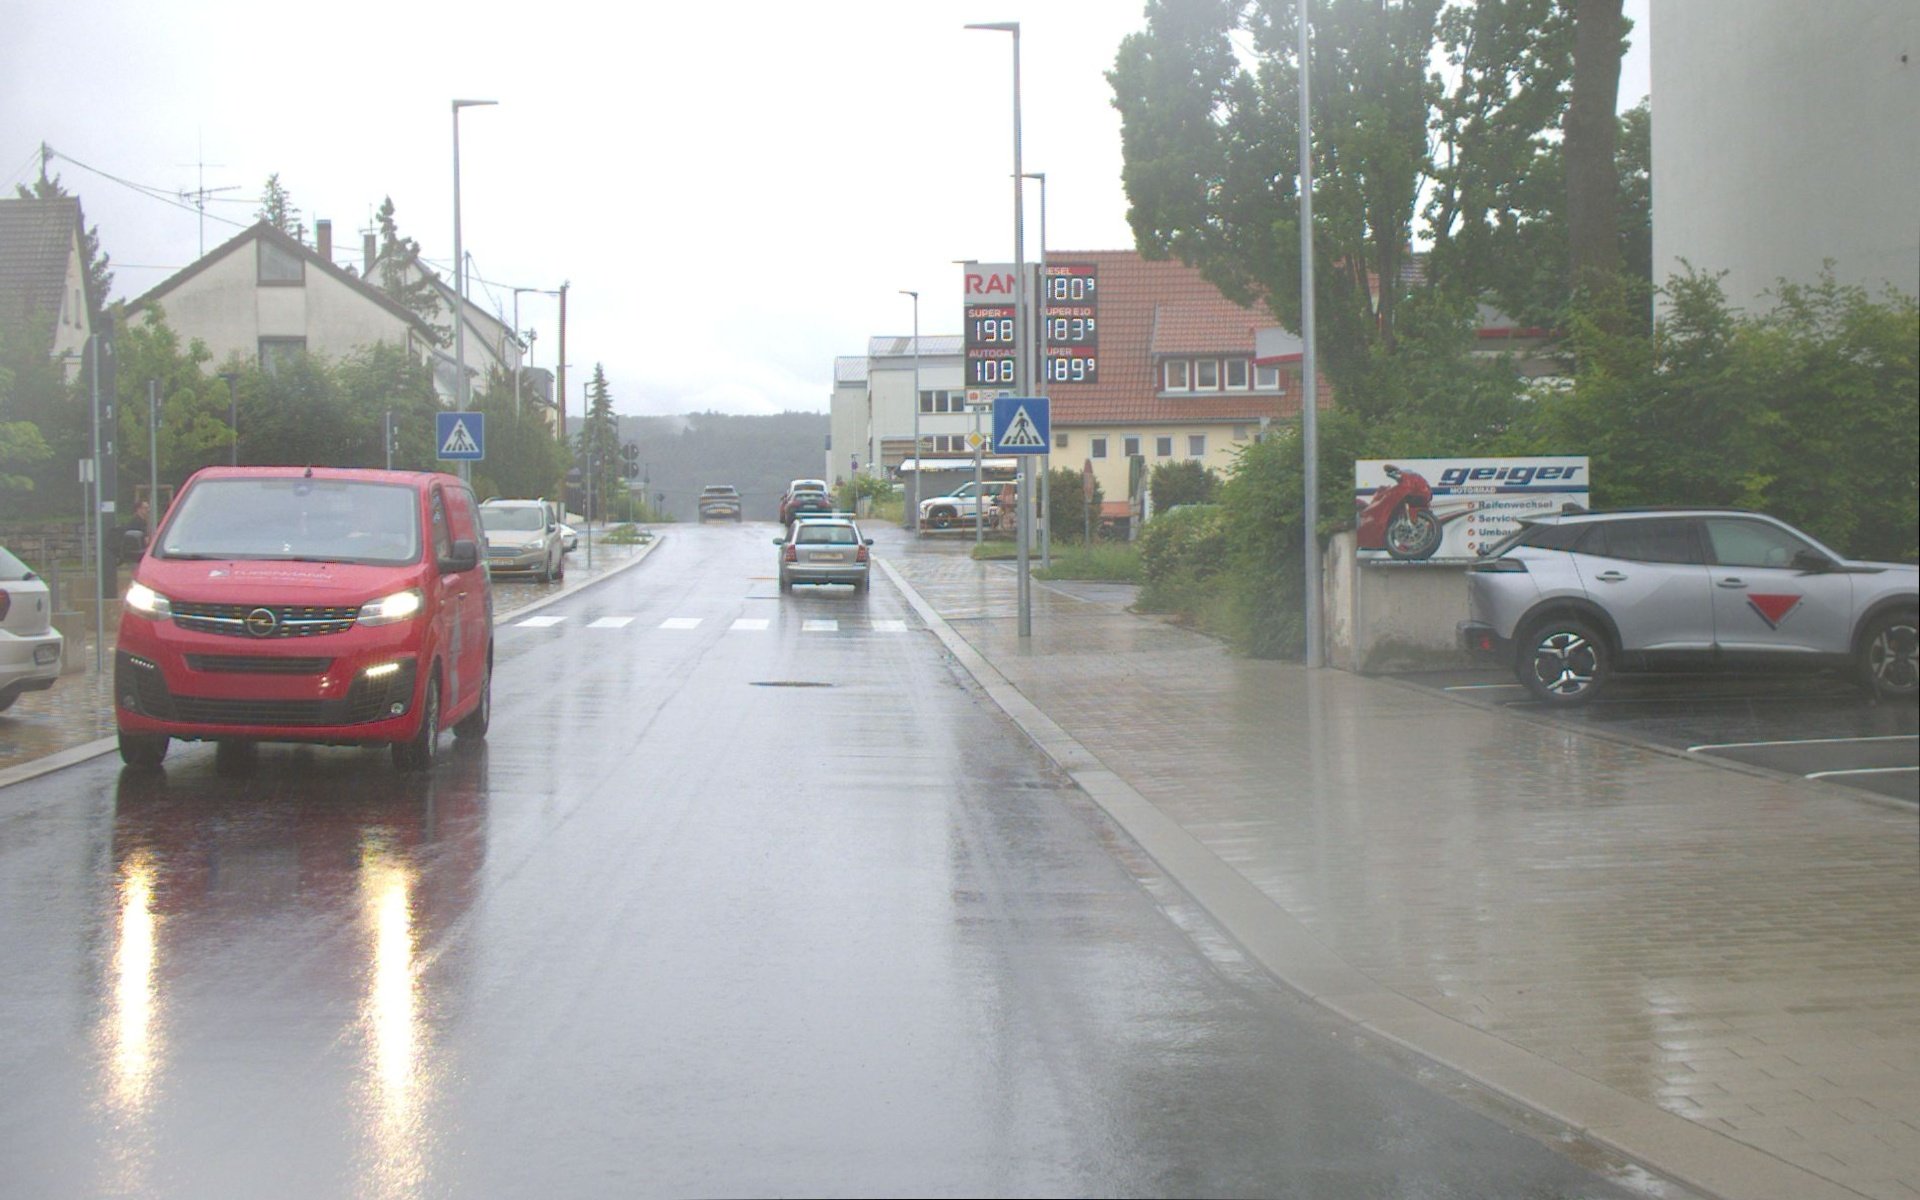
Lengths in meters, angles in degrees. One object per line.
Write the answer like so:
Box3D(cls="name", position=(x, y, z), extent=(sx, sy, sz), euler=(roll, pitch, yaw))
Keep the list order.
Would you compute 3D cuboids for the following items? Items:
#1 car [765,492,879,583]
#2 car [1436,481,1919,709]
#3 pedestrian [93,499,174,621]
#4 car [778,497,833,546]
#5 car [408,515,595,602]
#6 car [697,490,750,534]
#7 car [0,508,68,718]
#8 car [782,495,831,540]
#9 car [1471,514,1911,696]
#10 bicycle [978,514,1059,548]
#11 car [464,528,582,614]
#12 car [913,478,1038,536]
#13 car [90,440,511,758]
Box3D(cls="car", position=(-2.700, -1.184, 66.457), extent=(1.948, 1.550, 4.000), euler=(3, -1, -5))
Box3D(cls="car", position=(5.967, -0.060, 27.547), extent=(4.208, 1.644, 1.999), euler=(-2, 1, 8))
Box3D(cls="pedestrian", position=(-11.790, -0.581, 49.047), extent=(1.013, 1.718, 0.772), euler=(0, 1, -5))
Box3D(cls="car", position=(-6.049, -3.068, 134.765), extent=(1.993, 1.700, 4.000), euler=(3, -1, -2))
Box3D(cls="car", position=(-12.262, -1.088, 91.794), extent=(4.752, 2.007, 2.000), euler=(3, -1, -10))
Box3D(cls="car", position=(-10.548, -3.935, 153.618), extent=(2.154, 1.700, 4.000), euler=(3, -1, -2))
Box3D(cls="car", position=(-8.473, 0.071, 24.164), extent=(3.927, 1.418, 1.898), euler=(0, 1, -1))
Box3D(cls="car", position=(-6.602, -3.540, 147.877), extent=(1.993, 1.700, 4.000), euler=(3, -1, -2))
Box3D(cls="car", position=(6.363, 0.029, 30.255), extent=(3.622, 1.489, 1.806), euler=(-1, 1, 7))
Box3D(cls="bicycle", position=(1.897, -2.263, 112.611), extent=(0.668, 1.063, 3.629), euler=(4, -1, -34))
Box3D(cls="car", position=(-8.759, -0.615, 69.237), extent=(1.993, 1.623, 4.154), euler=(0, 2, -2))
Box3D(cls="car", position=(0.527, -3.226, 119.171), extent=(4.111, 1.700, 1.789), euler=(3, -1, -5))
Box3D(cls="car", position=(-4.087, -0.060, 22.116), extent=(2.002, 1.811, 4.980), euler=(0, 1, -3))
